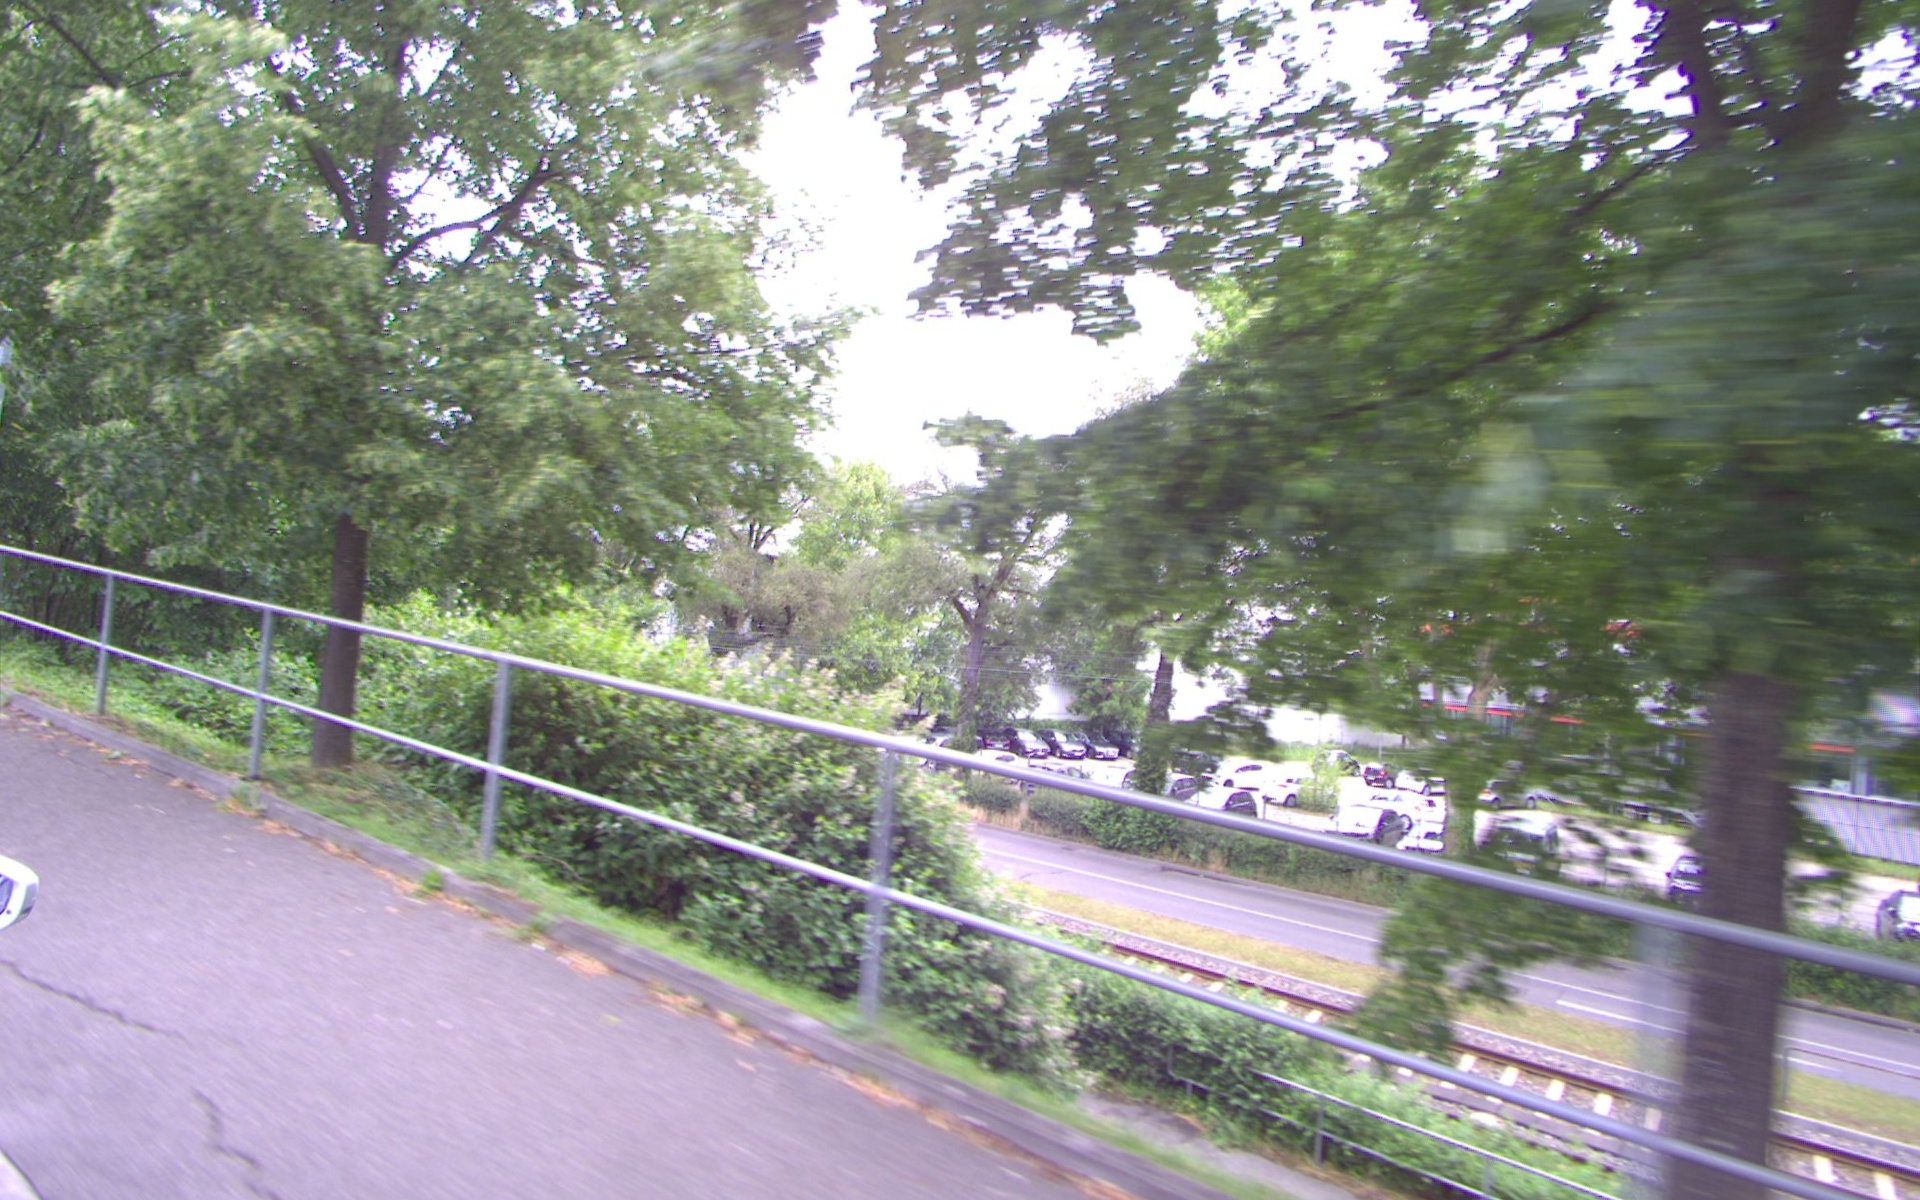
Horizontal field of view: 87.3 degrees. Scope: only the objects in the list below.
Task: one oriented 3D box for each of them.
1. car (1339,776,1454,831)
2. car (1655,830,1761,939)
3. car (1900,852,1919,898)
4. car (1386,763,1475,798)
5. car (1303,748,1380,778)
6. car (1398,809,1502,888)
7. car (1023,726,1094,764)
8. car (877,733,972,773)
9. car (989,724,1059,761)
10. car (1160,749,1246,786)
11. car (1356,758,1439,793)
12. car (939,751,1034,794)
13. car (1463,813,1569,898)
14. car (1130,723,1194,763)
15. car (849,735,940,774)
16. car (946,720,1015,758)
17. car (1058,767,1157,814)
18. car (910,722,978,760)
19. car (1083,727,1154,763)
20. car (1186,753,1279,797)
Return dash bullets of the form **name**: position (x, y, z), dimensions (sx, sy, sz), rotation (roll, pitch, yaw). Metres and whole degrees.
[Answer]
- **car**: position (19.119, 8.923, 44.274), dimensions (1.975, 1.485, 4.318), rotation (8, -2, -25)
- **car**: position (21.038, 7.923, 28.441), dimensions (1.968, 2.037, 3.992), rotation (6, -2, 33)
- **car**: position (33.949, 9.414, 33.462), dimensions (4.468, 1.392, 1.992), rotation (8, -2, -19)
- **car**: position (25.784, 9.845, 55.120), dimensions (4.280, 1.487, 1.990), rotation (3, 0, -23)
- **car**: position (23.616, 10.079, 62.292), dimensions (4.283, 1.487, 1.989), rotation (4, 0, -24)
- **car**: position (16.531, 8.251, 33.816), dimensions (1.972, 1.813, 4.564), rotation (6, -2, 40)
- **car**: position (5.867, 8.684, 60.470), dimensions (1.979, 1.485, 4.310), rotation (8, -2, -30)
- **car**: position (-1.623, 7.139, 47.275), dimensions (1.971, 1.485, 4.327), rotation (6, -2, 39)
- **car**: position (3.758, 8.457, 59.926), dimensions (1.979, 1.485, 4.310), rotation (8, -2, -30)
- **car**: position (13.226, 9.106, 54.690), dimensions (4.296, 1.485, 1.985), rotation (8, -2, -30)
- **car**: position (25.033, 10.052, 57.541), dimensions (4.292, 1.485, 1.988), rotation (8, -2, -27)
- **car**: position (1.256, 7.798, 45.788), dimensions (1.971, 1.485, 4.327), rotation (6, -2, 39)
- **car**: position (17.587, 7.963, 31.713), dimensions (1.972, 1.813, 4.564), rotation (6, -2, 40)
- **car**: position (12.882, 9.108, 64.350), dimensions (1.974, 1.832, 3.979), rotation (7, -2, -24)
- **car**: position (-3.109, 7.409, 48.603), dimensions (1.800, 1.523, 4.327), rotation (6, -2, 39)
- **car**: position (1.130, 8.099, 58.980), dimensions (1.979, 1.485, 4.310), rotation (8, -2, -30)
- **car**: position (6.123, 7.823, 41.424), dimensions (1.971, 1.483, 4.333), rotation (6, -5, 39)
- **car**: position (-0.975, 8.092, 57.927), dimensions (1.979, 1.485, 4.310), rotation (8, -2, -30)
- **car**: position (9.877, 9.054, 62.953), dimensions (1.979, 1.485, 4.310), rotation (8, -2, -30)
- **car**: position (14.184, 9.089, 52.310), dimensions (4.290, 1.737, 1.988), rotation (8, -2, -26)
